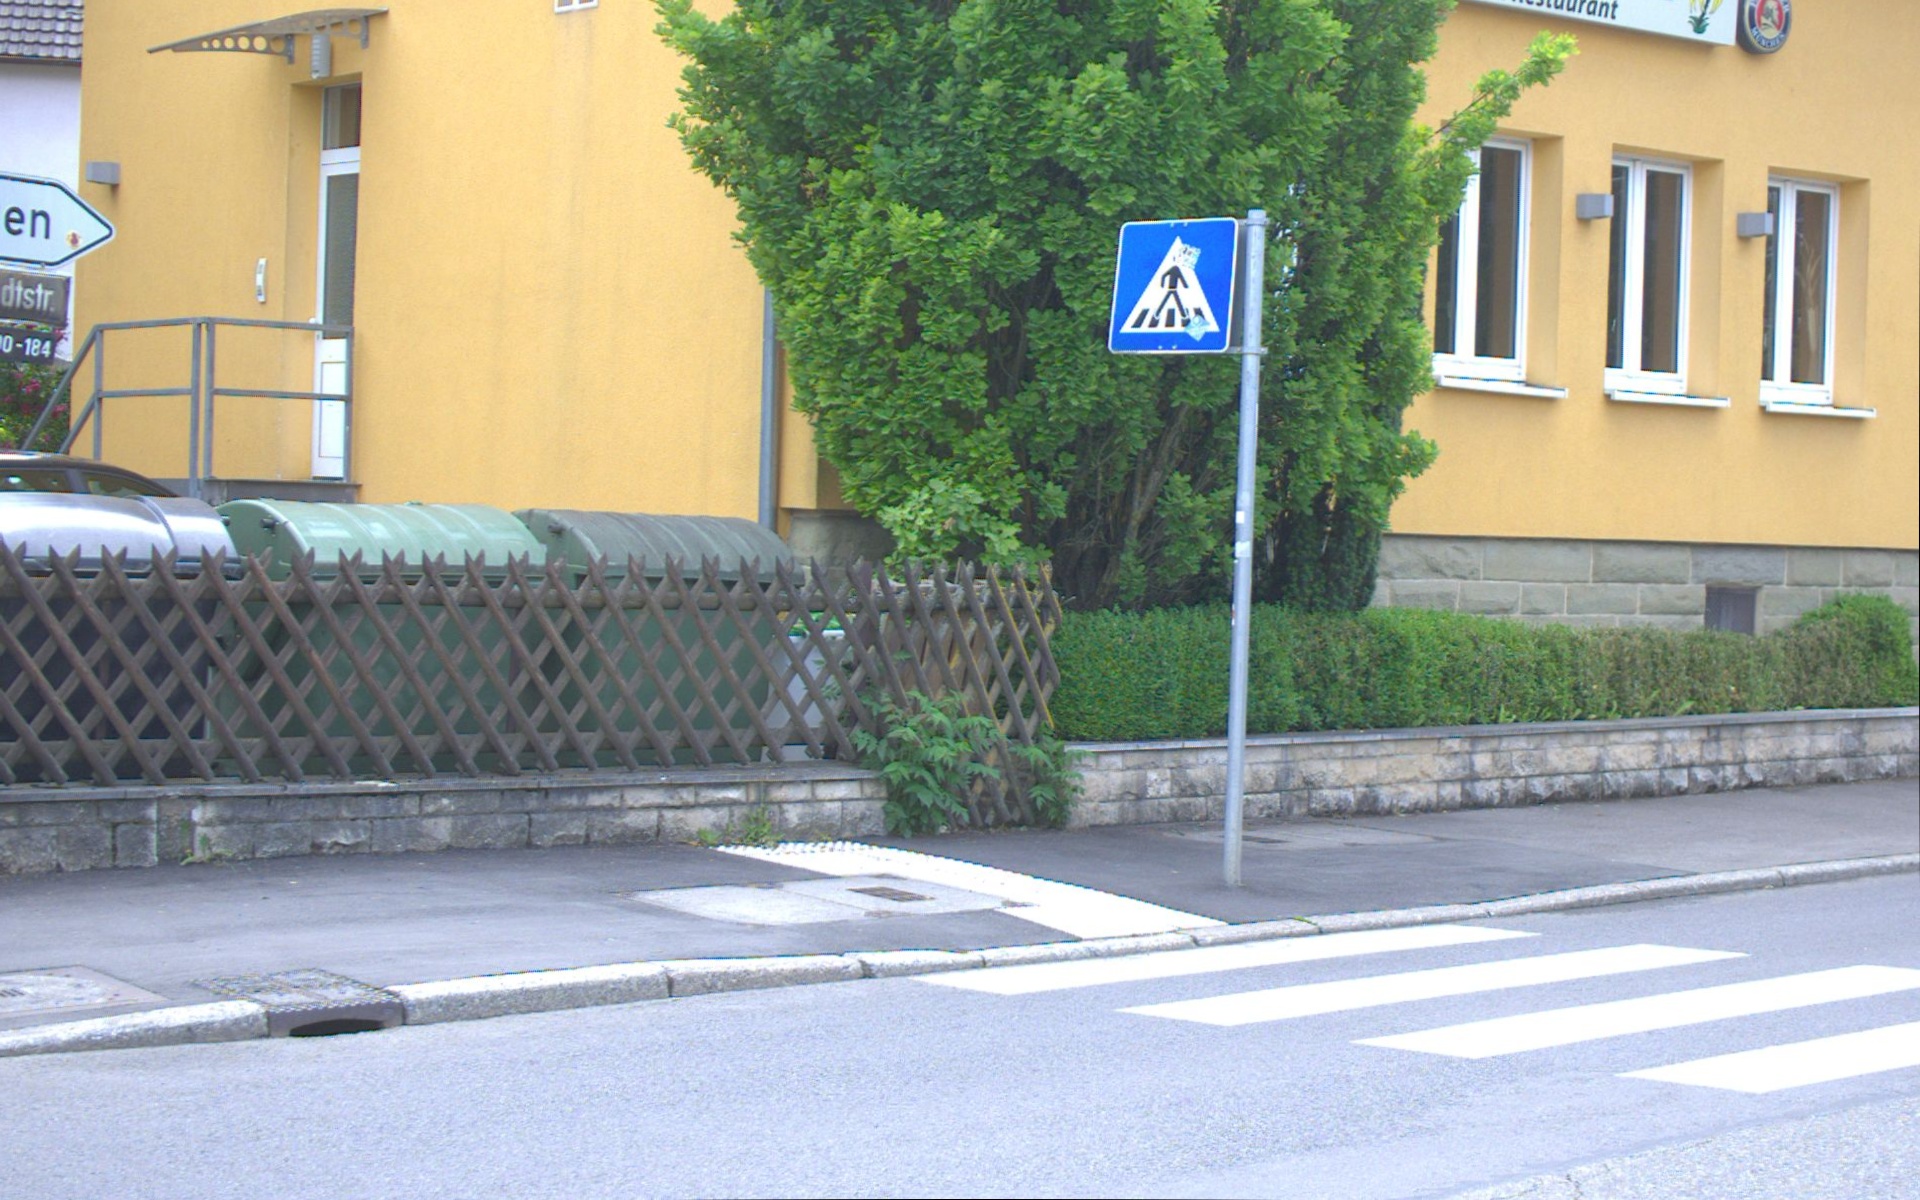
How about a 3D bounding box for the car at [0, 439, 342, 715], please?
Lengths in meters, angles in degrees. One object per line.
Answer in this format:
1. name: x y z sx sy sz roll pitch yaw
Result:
1. car: -5.552 -0.166 19.465 1.726 1.422 3.670 7 6 44
